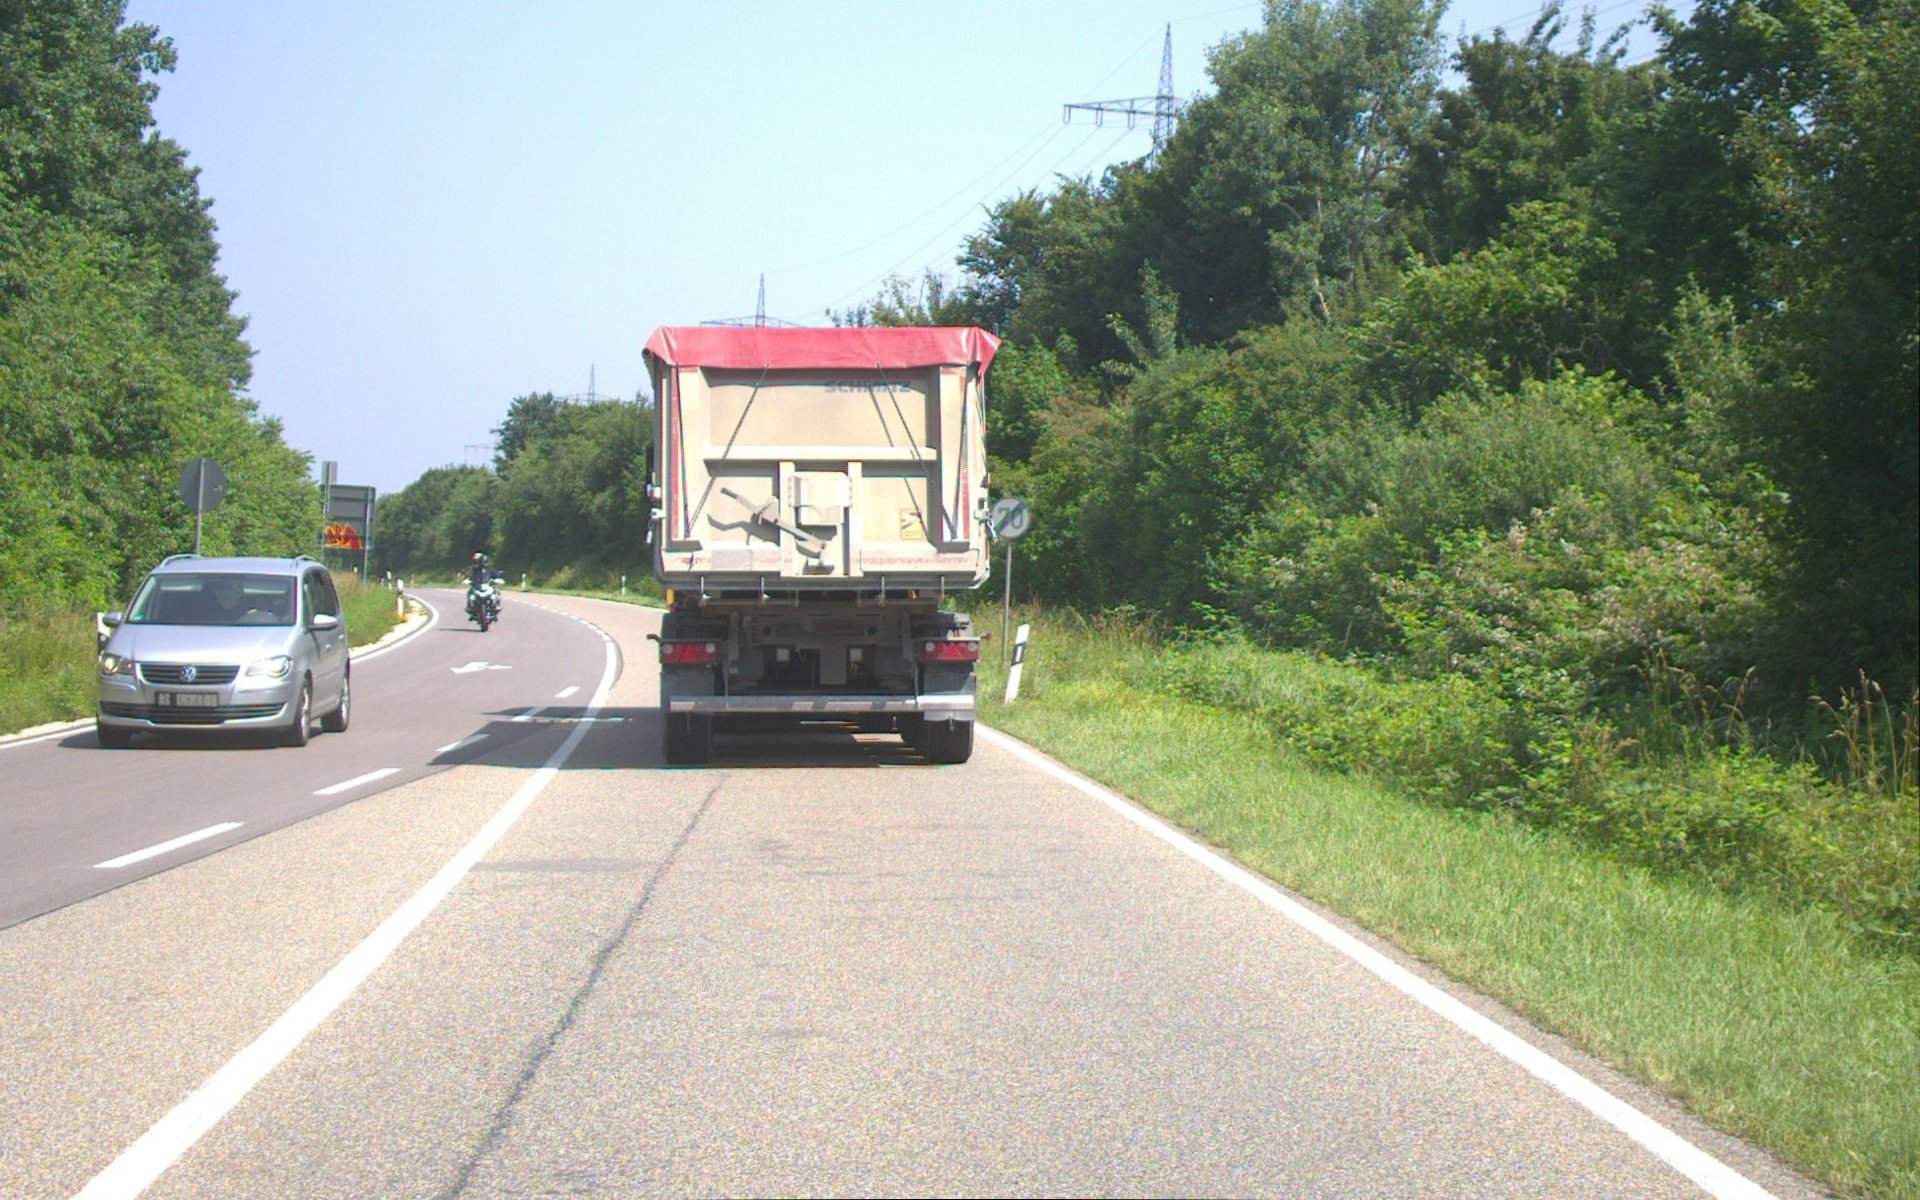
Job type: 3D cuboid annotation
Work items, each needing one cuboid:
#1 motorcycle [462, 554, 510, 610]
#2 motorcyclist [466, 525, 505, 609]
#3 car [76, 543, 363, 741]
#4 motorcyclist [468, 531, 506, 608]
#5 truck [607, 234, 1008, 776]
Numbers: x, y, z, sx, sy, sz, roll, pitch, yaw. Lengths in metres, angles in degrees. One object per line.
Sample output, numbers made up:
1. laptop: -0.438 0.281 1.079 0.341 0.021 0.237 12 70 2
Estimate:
1. motorcycle: -10.731 -0.416 77.872 0.946 1.246 2.682 1 1 -6
2. motorcyclist: -10.707 -0.734 77.610 0.820 1.875 0.657 1 0 -6
3. car: -6.549 0.338 30.813 1.802 1.631 4.212 1 0 -2
4. motorcyclist: -10.801 -0.691 78.537 0.830 1.746 0.623 1 0 -6
5. truck: -1.483 -0.775 31.270 2.893 3.949 11.934 1 1 -4
